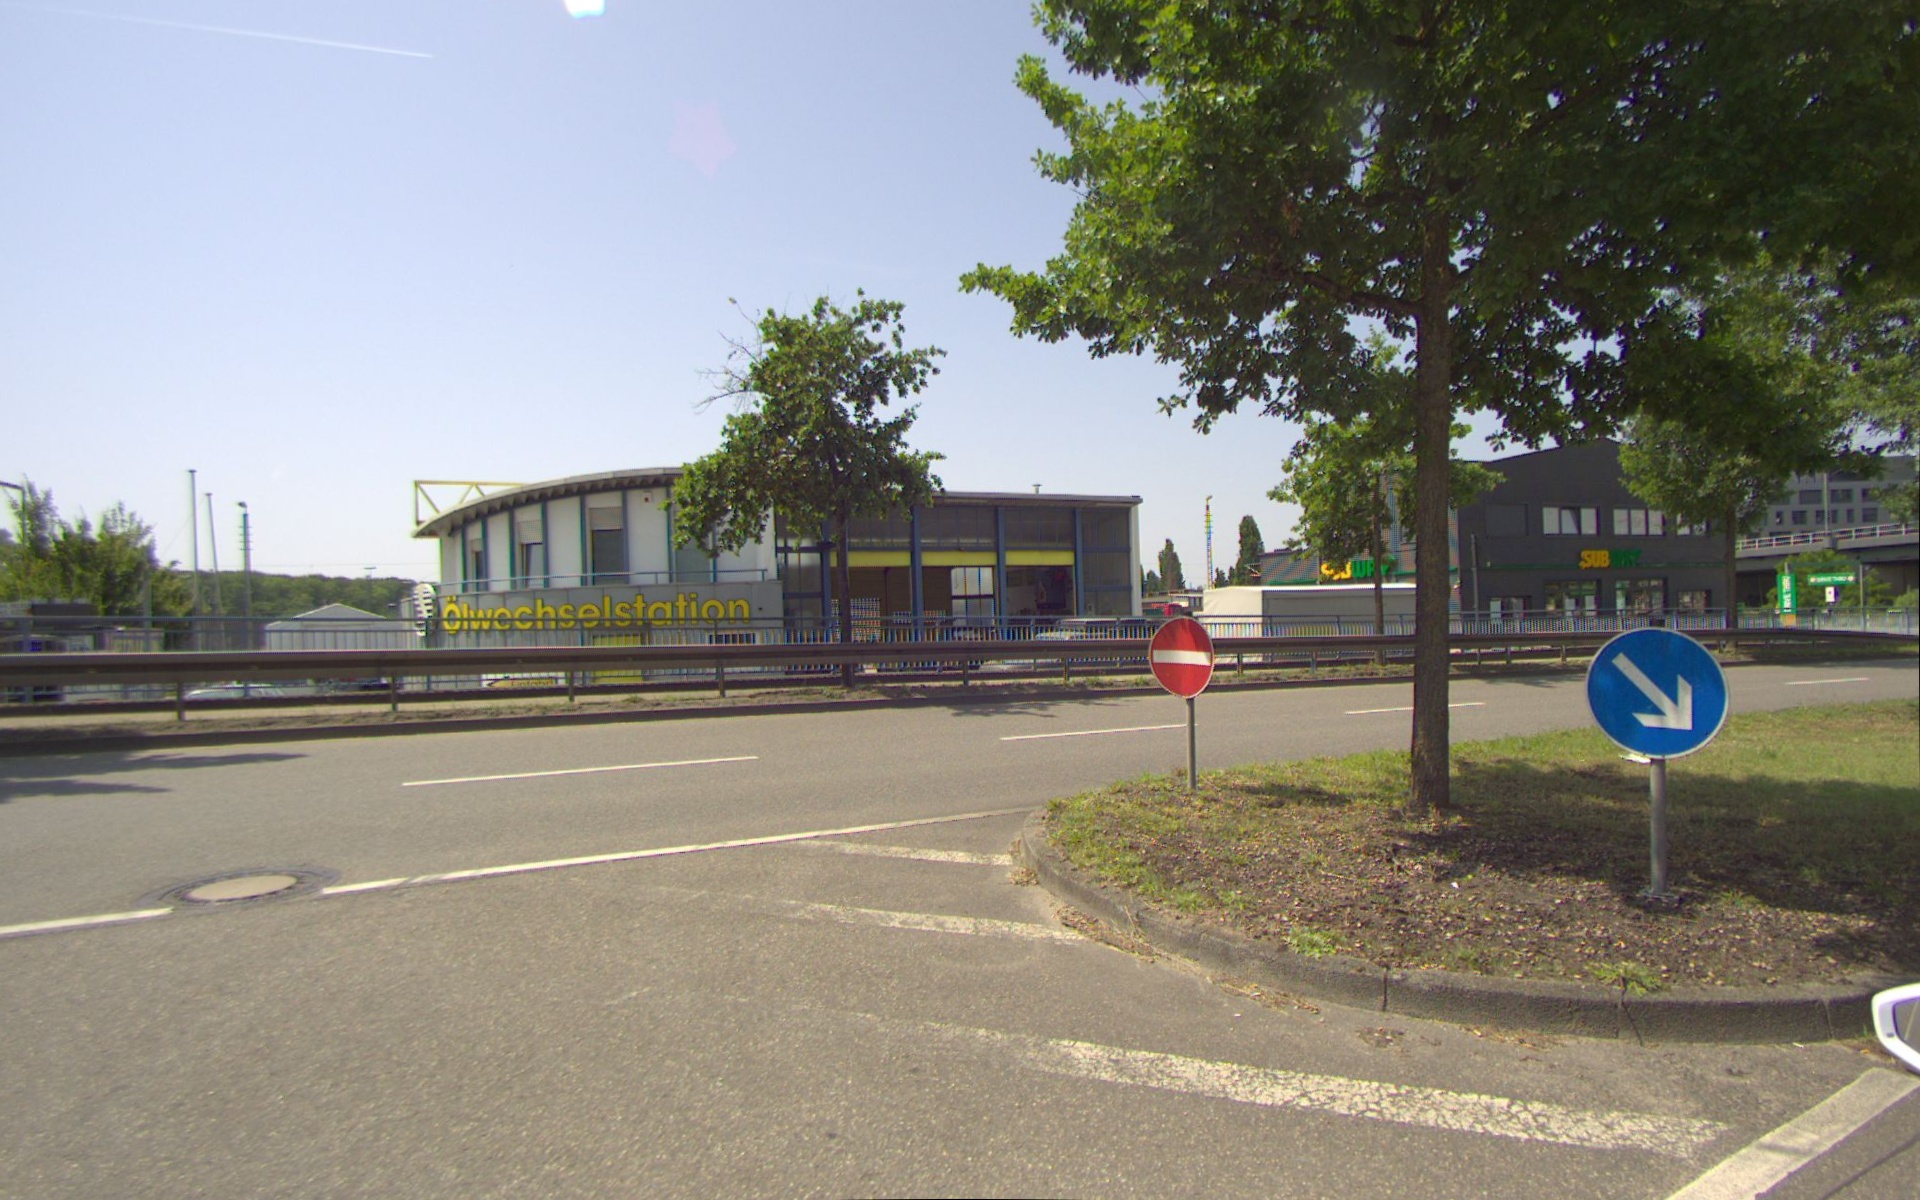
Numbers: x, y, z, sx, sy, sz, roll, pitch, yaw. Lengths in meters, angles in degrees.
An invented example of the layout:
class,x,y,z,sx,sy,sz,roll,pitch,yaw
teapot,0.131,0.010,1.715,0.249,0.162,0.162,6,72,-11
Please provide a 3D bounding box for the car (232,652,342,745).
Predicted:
class,x,y,z,sx,sy,sz,roll,pitch,yaw
car,-17.391,2.458,26.143,1.975,2.040,3.971,0,-1,-28

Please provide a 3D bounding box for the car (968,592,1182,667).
class,x,y,z,sx,sy,sz,roll,pitch,yaw
car,2.655,0.690,23.067,4.577,1.589,1.892,0,-3,-25
